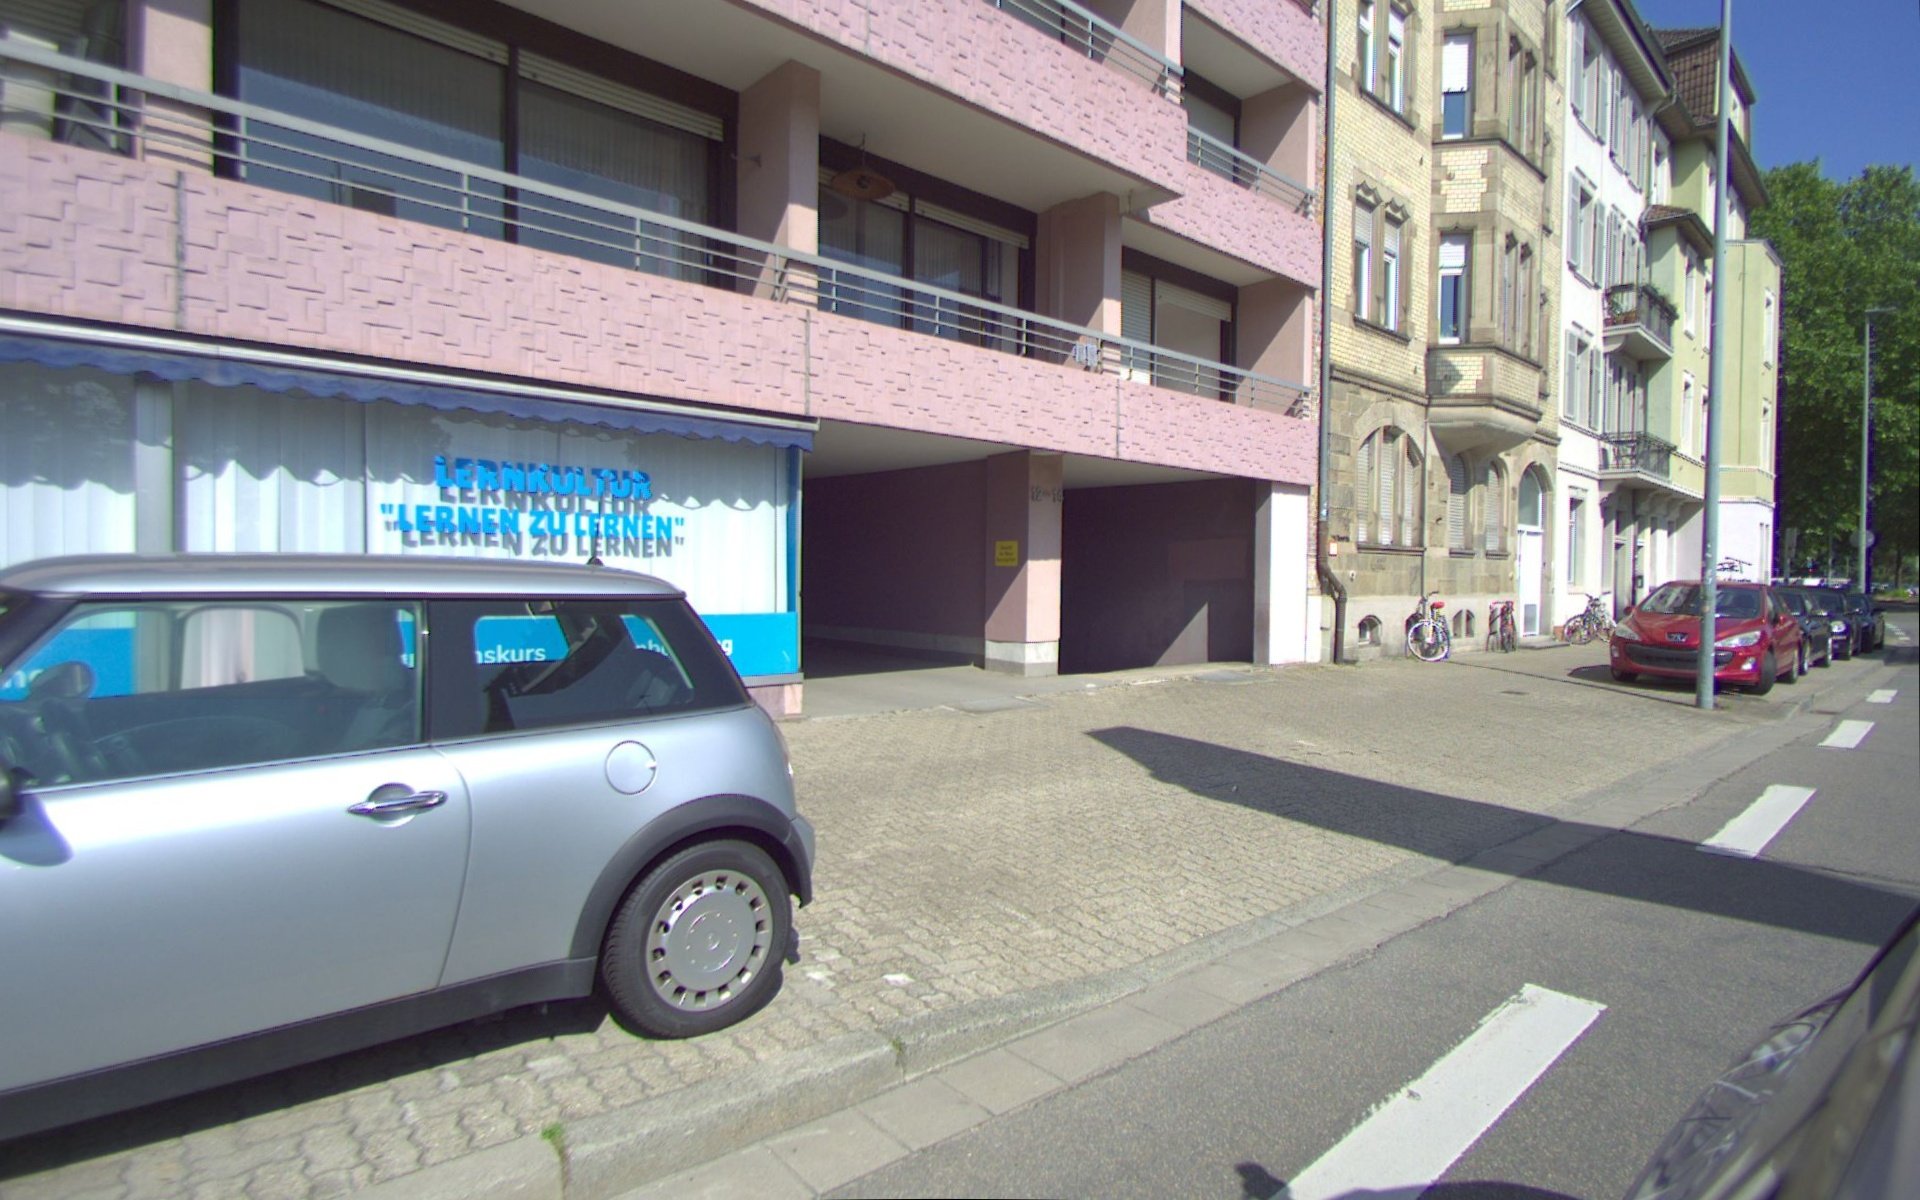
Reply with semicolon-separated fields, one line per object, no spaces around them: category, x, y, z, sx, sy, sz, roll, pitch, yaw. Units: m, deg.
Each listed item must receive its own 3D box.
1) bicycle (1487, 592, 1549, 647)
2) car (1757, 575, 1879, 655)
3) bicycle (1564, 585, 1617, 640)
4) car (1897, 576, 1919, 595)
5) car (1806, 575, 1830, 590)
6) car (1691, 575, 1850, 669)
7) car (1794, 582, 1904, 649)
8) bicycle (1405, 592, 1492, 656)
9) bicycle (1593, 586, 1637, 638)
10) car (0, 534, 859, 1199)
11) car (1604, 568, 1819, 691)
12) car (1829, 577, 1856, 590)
bicycle;10.693;0.355;19.374;1.624;0.982;0.508;-1;2;-42
car;18.604;0.246;21.894;3.945;1.519;1.643;-1;3;-45
bicycle;14.097;0.257;22.610;0.655;1.160;1.601;4;3;44
car;97.577;-1.515;103.344;1.985;1.914;3.955;1;2;32
car;109.633;-2.264;129.365;1.620;1.938;3.644;1;2;28
car;14.599;0.308;18.156;4.057;1.471;1.644;-1;2;-43
car;21.948;0.322;24.938;4.015;1.433;1.742;-1;3;-45
bicycle;8.205;0.381;16.960;1.832;0.982;0.651;-1;2;-42
bicycle;15.713;0.274;24.258;0.566;1.195;1.601;2;2;44
car;-2.182;0.552;2.930;3.368;1.426;1.683;0;3;-39
car;11.002;0.327;14.718;3.933;1.500;1.788;-1;3;-43
car;107.026;-2.012;122.724;1.620;1.514;3.645;2;2;28
